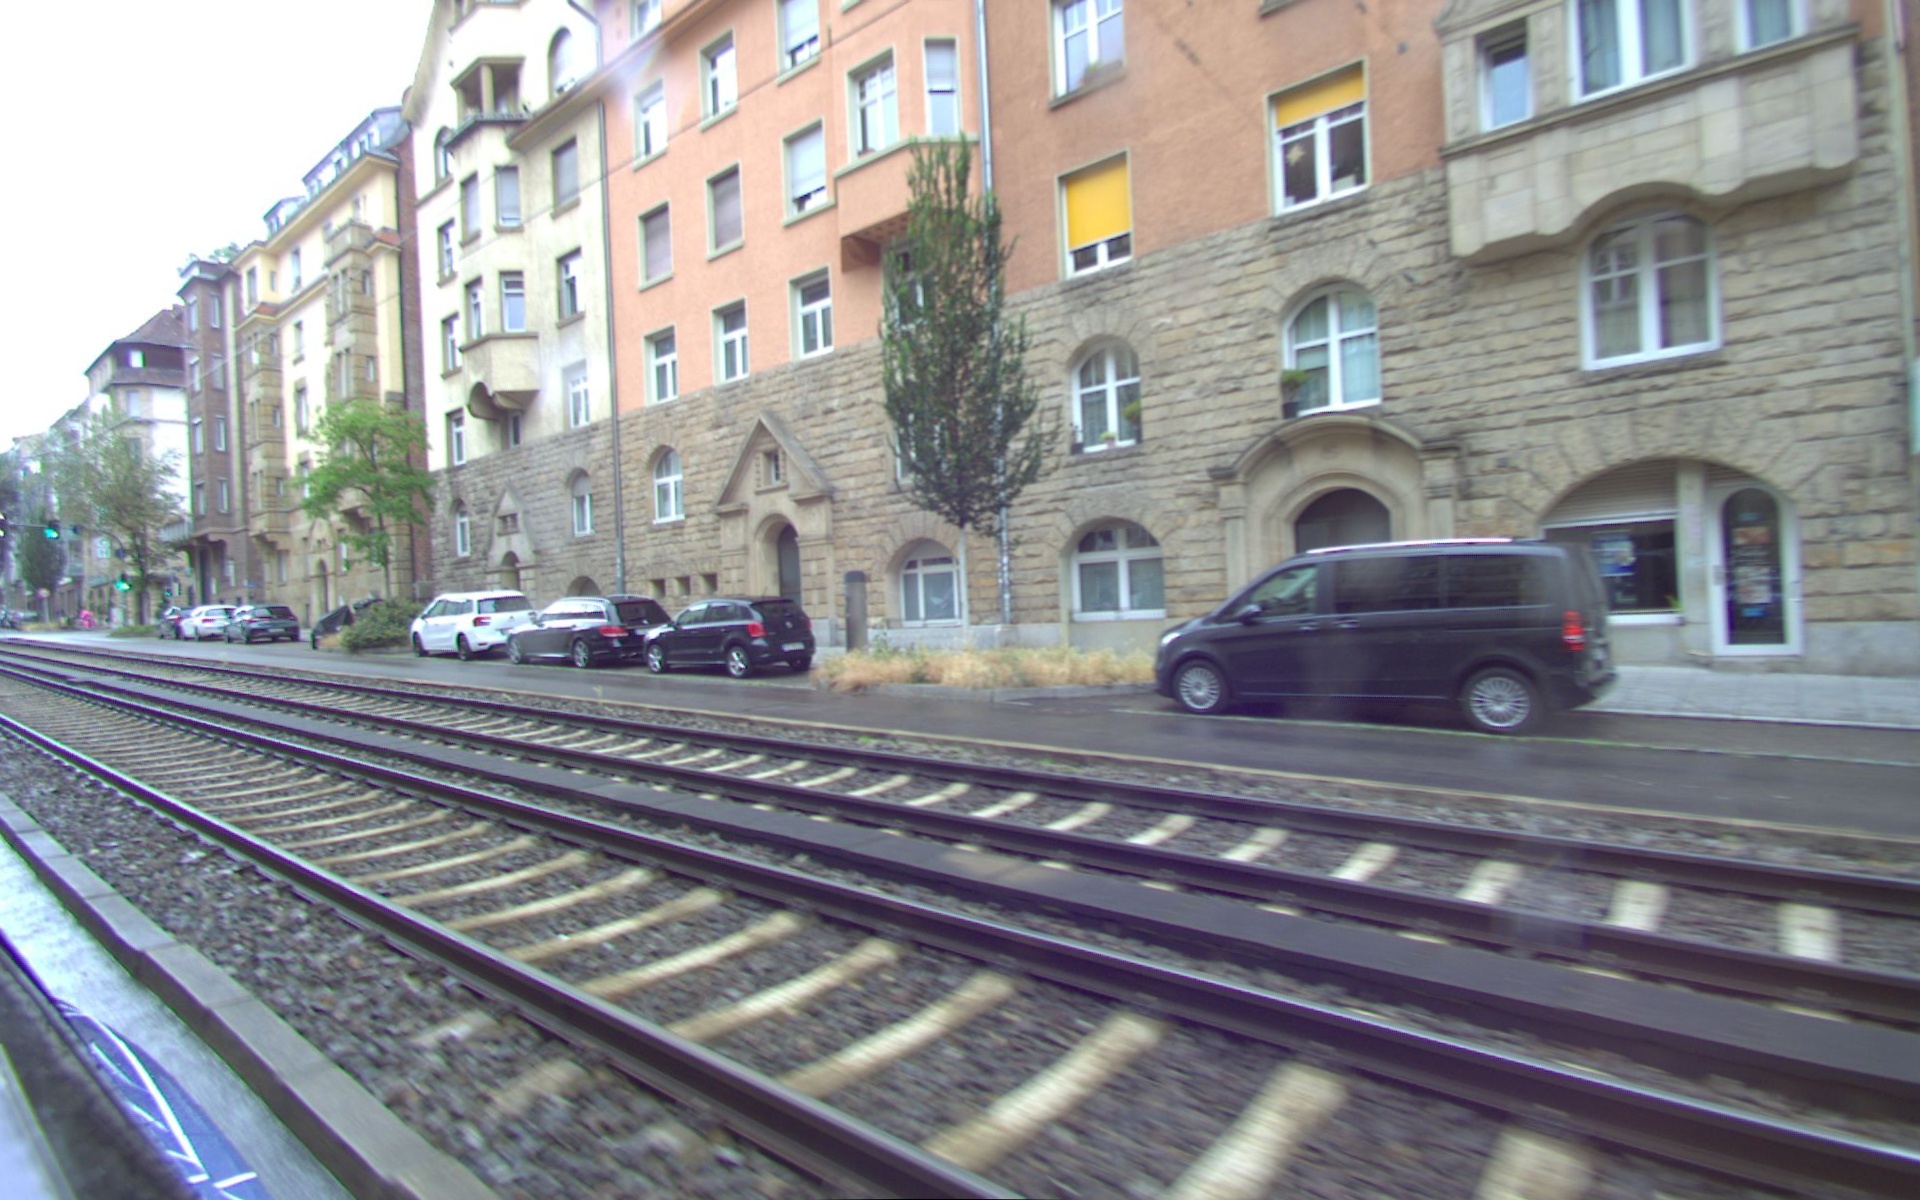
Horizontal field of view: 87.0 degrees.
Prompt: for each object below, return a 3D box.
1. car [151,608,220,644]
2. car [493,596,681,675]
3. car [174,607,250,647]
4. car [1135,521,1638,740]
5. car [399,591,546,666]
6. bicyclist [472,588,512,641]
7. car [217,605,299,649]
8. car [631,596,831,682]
[{"bbox_3d":[-34.754,1.118,45.384,3.712,1.438,1.737,0,3,42],"label":"car"},{"bbox_3d":[-8.280,0.714,22.273,4.593,1.502,1.738,-1,2,39],"label":"car"},{"bbox_3d":[-31.209,1.096,42.183,4.043,1.462,1.737,0,3,42],"label":"car"},{"bbox_3d":[4.540,0.282,11.275,4.829,1.945,1.886,-1,0,40],"label":"car"},{"bbox_3d":[-12.566,0.676,25.974,4.257,1.684,1.738,-1,3,40],"label":"car"},{"bbox_3d":[-14.454,0.441,31.252,0.774,1.613,0.883,-1,0,41],"label":"bicyclist"},{"bbox_3d":[-26.569,0.990,38.290,3.712,1.493,1.695,0,3,42],"label":"car"},{"bbox_3d":[-4.401,0.683,19.268,3.690,1.414,1.739,-1,2,38],"label":"car"}]
